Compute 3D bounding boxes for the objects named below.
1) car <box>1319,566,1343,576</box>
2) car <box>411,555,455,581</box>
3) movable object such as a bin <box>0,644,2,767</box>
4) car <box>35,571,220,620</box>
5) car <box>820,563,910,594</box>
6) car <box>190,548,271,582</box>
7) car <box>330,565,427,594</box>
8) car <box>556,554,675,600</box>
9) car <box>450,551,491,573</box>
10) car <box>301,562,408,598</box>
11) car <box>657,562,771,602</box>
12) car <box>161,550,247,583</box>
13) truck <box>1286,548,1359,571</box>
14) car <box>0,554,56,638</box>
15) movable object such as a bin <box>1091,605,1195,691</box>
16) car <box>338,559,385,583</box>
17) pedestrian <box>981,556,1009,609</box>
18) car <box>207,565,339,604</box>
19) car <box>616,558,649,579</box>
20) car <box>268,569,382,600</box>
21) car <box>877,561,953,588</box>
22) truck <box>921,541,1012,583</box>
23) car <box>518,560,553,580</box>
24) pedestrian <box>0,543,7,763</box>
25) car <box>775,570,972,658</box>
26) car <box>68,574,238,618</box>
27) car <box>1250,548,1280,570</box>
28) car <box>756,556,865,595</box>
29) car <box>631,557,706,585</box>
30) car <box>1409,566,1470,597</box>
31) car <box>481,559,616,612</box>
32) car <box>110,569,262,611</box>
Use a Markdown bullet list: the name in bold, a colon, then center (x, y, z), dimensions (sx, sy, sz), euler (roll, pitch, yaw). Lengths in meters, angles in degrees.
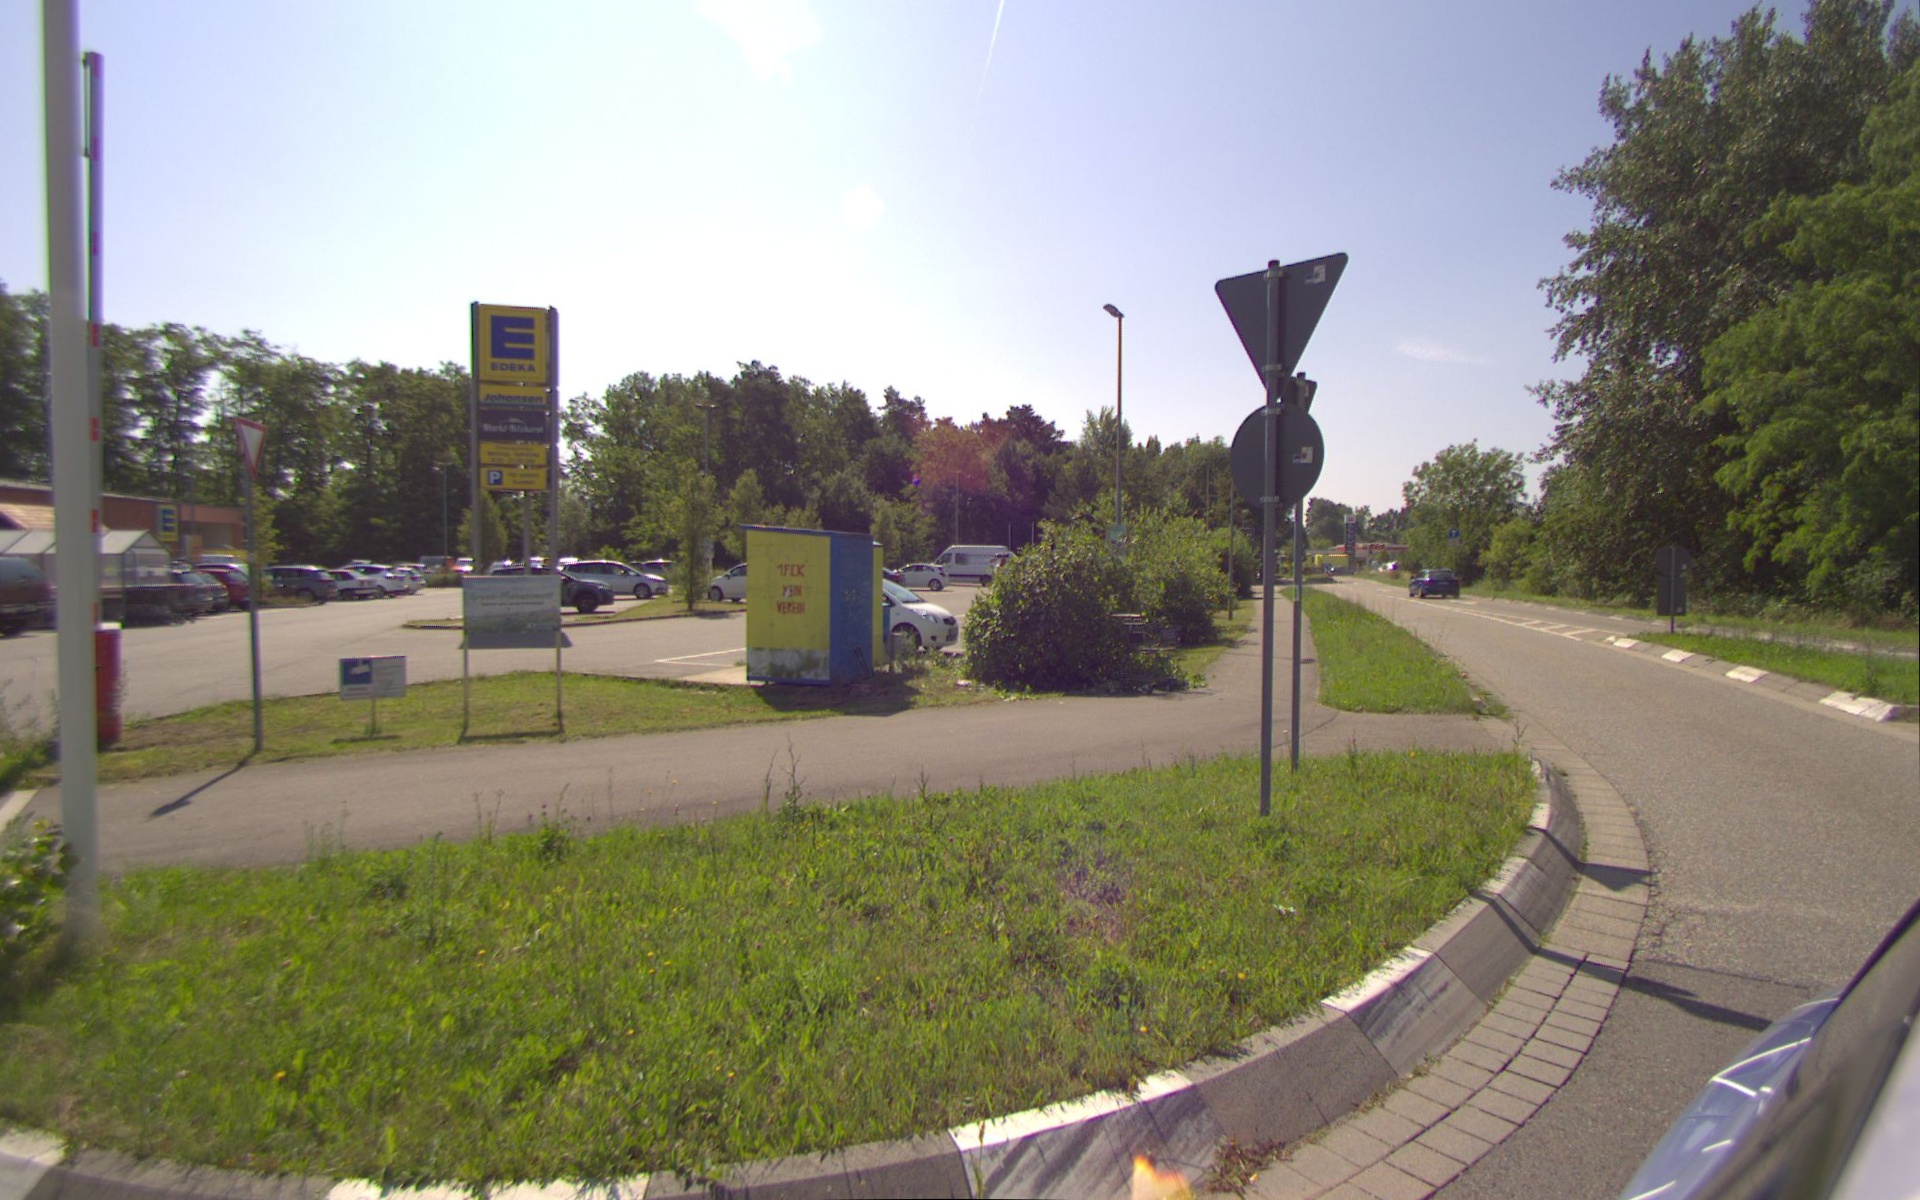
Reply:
- **car**: center (50.633, -3.983, 138.086), dimensions (1.671, 1.406, 4.296), euler (0, 2, -1)
- **car**: center (-41.898, -2.558, 80.538), dimensions (1.903, 1.998, 4.008), euler (0, 2, -9)
- **movable object such as a bin**: center (-7.772, 0.867, 7.532), dimensions (0.865, 0.967, 1.202), euler (-1, 2, -41)
- **car**: center (-25.548, -0.175, 31.194), dimensions (3.917, 1.437, 1.986), euler (-1, 1, -10)
- **car**: center (-4.444, -1.040, 47.811), dimensions (3.936, 1.445, 1.745), euler (1, 2, 10)
- **car**: center (-49.182, -2.343, 68.307), dimensions (3.942, 2.274, 2.003), euler (0, 1, -6)
- **car**: center (-29.918, -1.060, 52.166), dimensions (3.920, 1.415, 1.893), euler (-1, 2, -5)
- **car**: center (-14.622, -1.003, 43.181), dimensions (4.466, 1.723, 2.004), euler (-2, 2, -10)
- **car**: center (-39.088, -3.037, 80.932), dimensions (1.903, 1.732, 4.008), euler (0, 2, -9)
- **car**: center (-28.990, -0.962, 48.545), dimensions (3.921, 1.682, 2.002), euler (0, 1, -4)
- **car**: center (-9.242, -0.708, 38.109), dimensions (3.948, 1.460, 1.641), euler (1, 2, 19)
- **car**: center (-48.075, -2.140, 64.428), dimensions (3.919, 2.038, 2.003), euler (0, 1, -6)
- **truck**: center (55.684, -6.265, 155.790), dimensions (10.190, 3.435, 3.869), euler (1, 2, 15)
- **car**: center (-24.290, -0.099, 24.298), dimensions (3.424, 1.953, 1.880), euler (0, 1, -2)
- **movable object such as a bin**: center (2.710, 0.677, 14.941), dimensions (0.868, 1.134, 1.432), euler (1, 2, 44)
- **car**: center (-47.369, -2.301, 80.165), dimensions (1.903, 1.822, 4.008), euler (0, 2, -9)
- **pedestrian**: center (1.236, -0.630, 35.699), dimensions (0.810, 1.819, 0.861), euler (1, 2, 18)
- **car**: center (-27.532, -0.645, 40.680), dimensions (3.917, 1.504, 1.972), euler (0, 1, -11)
- **car**: center (-26.944, -2.589, 83.364), dimensions (2.029, 1.732, 4.007), euler (0, 2, -9)
- **car**: center (-28.842, -0.710, 46.092), dimensions (3.920, 1.371, 2.002), euler (0, 2, -4)
- **car**: center (-2.439, -1.419, 55.697), dimensions (3.907, 1.471, 1.901), euler (0, 2, 7)
- **truck**: center (0.442, -2.497, 65.880), dimensions (5.539, 2.637, 2.193), euler (1, 2, 16)
- **car**: center (-34.130, -2.434, 81.428), dimensions (1.759, 1.615, 4.270), euler (0, 2, -11)
- **pedestrian**: center (-8.451, 0.434, 8.301), dimensions (0.865, 1.807, 0.841), euler (-1, 2, -42)
- **car**: center (-1.727, 0.215, 20.496), dimensions (3.561, 1.581, 1.802), euler (2, 2, 21)
- **car**: center (-26.699, -0.163, 33.622), dimensions (3.917, 1.393, 2.004), euler (-1, 2, -12)
- **car**: center (40.153, -5.323, 133.178), dimensions (2.629, 2.846, 5.148), euler (0, 2, 3)
- **car**: center (-6.303, -1.028, 42.809), dimensions (4.105, 1.593, 1.992), euler (0, 2, 15)
- **car**: center (-17.033, -1.727, 59.285), dimensions (3.920, 1.604, 1.973), euler (0, 2, -5)
- **car**: center (23.544, -0.923, 49.836), dimensions (1.811, 1.404, 4.406), euler (1, 2, 14)
- **car**: center (-13.064, -0.486, 32.375), dimensions (3.916, 1.608, 1.665), euler (-1, 2, -19)
- **car**: center (-27.418, -0.376, 35.951), dimensions (3.917, 1.415, 1.719), euler (-1, 2, -10)
